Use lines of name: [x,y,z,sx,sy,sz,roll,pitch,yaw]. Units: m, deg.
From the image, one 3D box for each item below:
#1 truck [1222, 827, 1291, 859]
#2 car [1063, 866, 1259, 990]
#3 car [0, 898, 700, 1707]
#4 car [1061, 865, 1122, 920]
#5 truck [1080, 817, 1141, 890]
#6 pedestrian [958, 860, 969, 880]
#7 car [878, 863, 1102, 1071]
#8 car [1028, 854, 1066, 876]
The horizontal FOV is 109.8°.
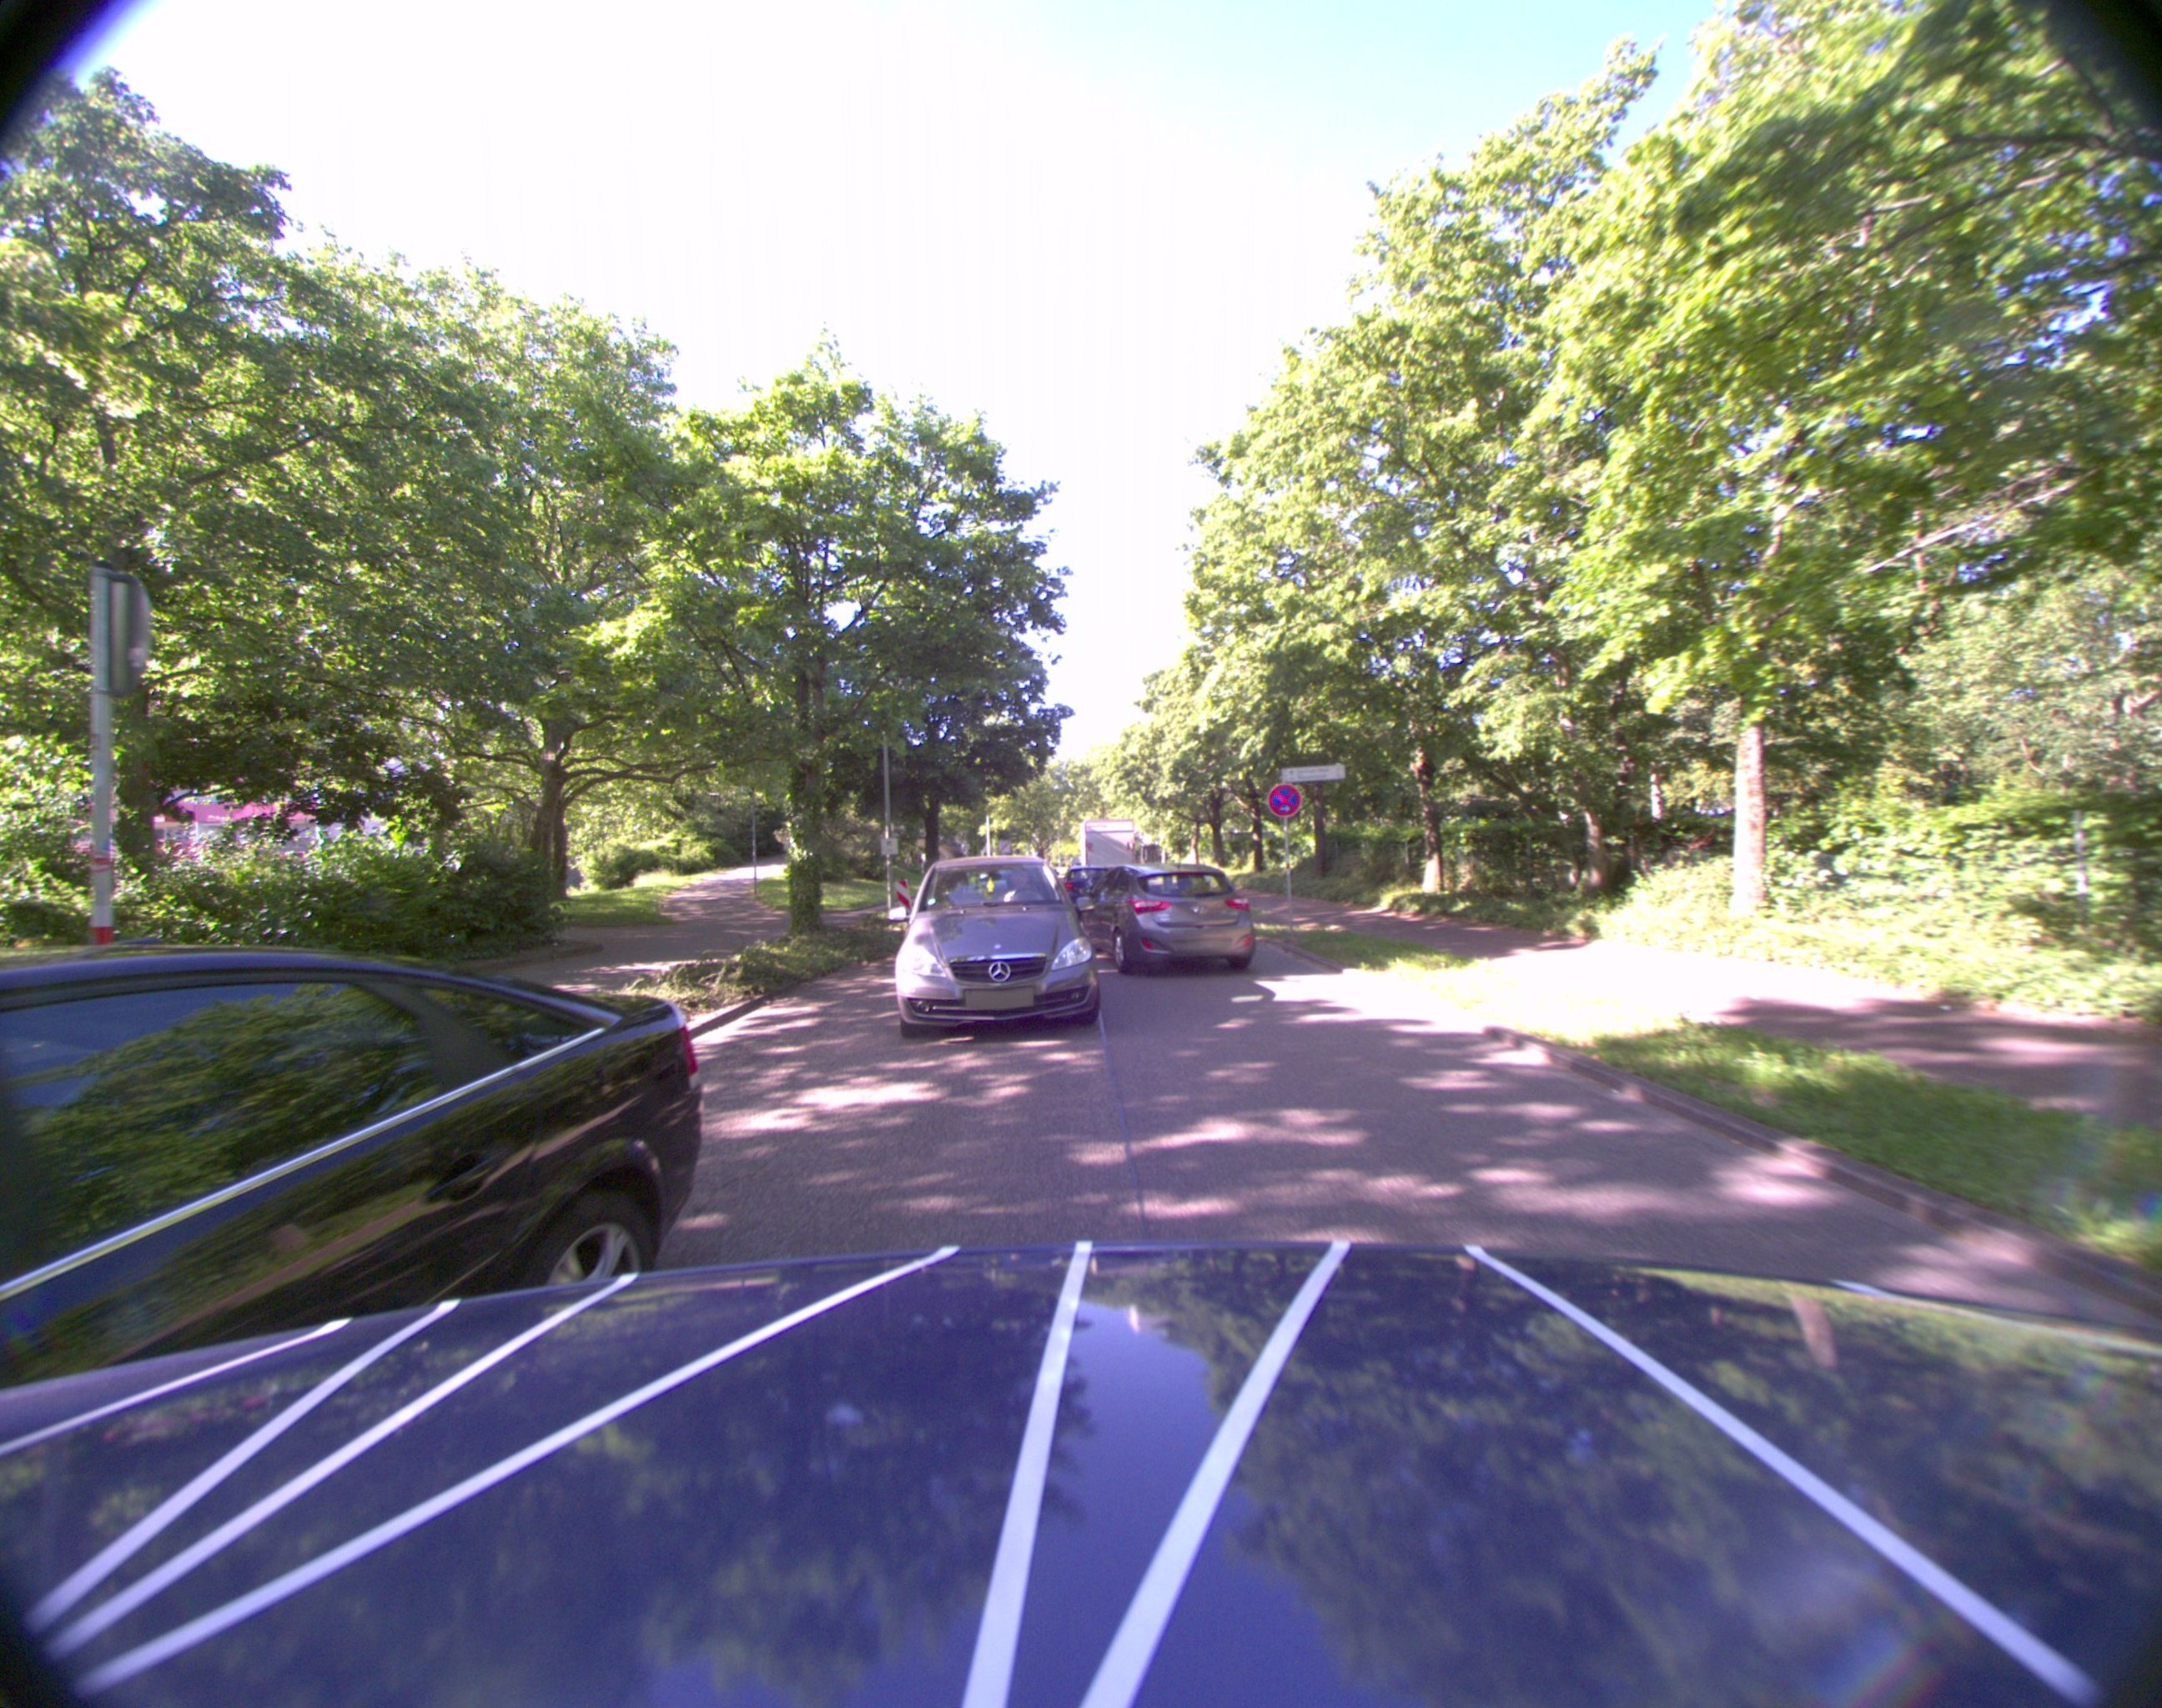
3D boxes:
truck: [11.675,-0.694,50.628,3.998,2.002,2.203,-1,0,-3]
car: [0.957,0.934,11.426,1.761,1.445,4.239,-1,0,-11]
car: [-2.265,0.950,0.619,1.753,1.472,4.030,-3,1,1]
car: [0.271,1.059,22.220,1.605,1.418,3.652,-1,0,0]
truck: [1.505,-0.026,43.032,2.742,3.620,8.099,-2,0,-2]
pedestrian: [-10.766,1.485,69.658,0.793,1.821,0.671,-2,0,-1]
car: [-0.956,0.922,8.132,1.735,1.578,3.998,-2,0,-7]
car: [-3.528,1.130,78.684,2.003,2.002,3.990,-4,0,-36]
